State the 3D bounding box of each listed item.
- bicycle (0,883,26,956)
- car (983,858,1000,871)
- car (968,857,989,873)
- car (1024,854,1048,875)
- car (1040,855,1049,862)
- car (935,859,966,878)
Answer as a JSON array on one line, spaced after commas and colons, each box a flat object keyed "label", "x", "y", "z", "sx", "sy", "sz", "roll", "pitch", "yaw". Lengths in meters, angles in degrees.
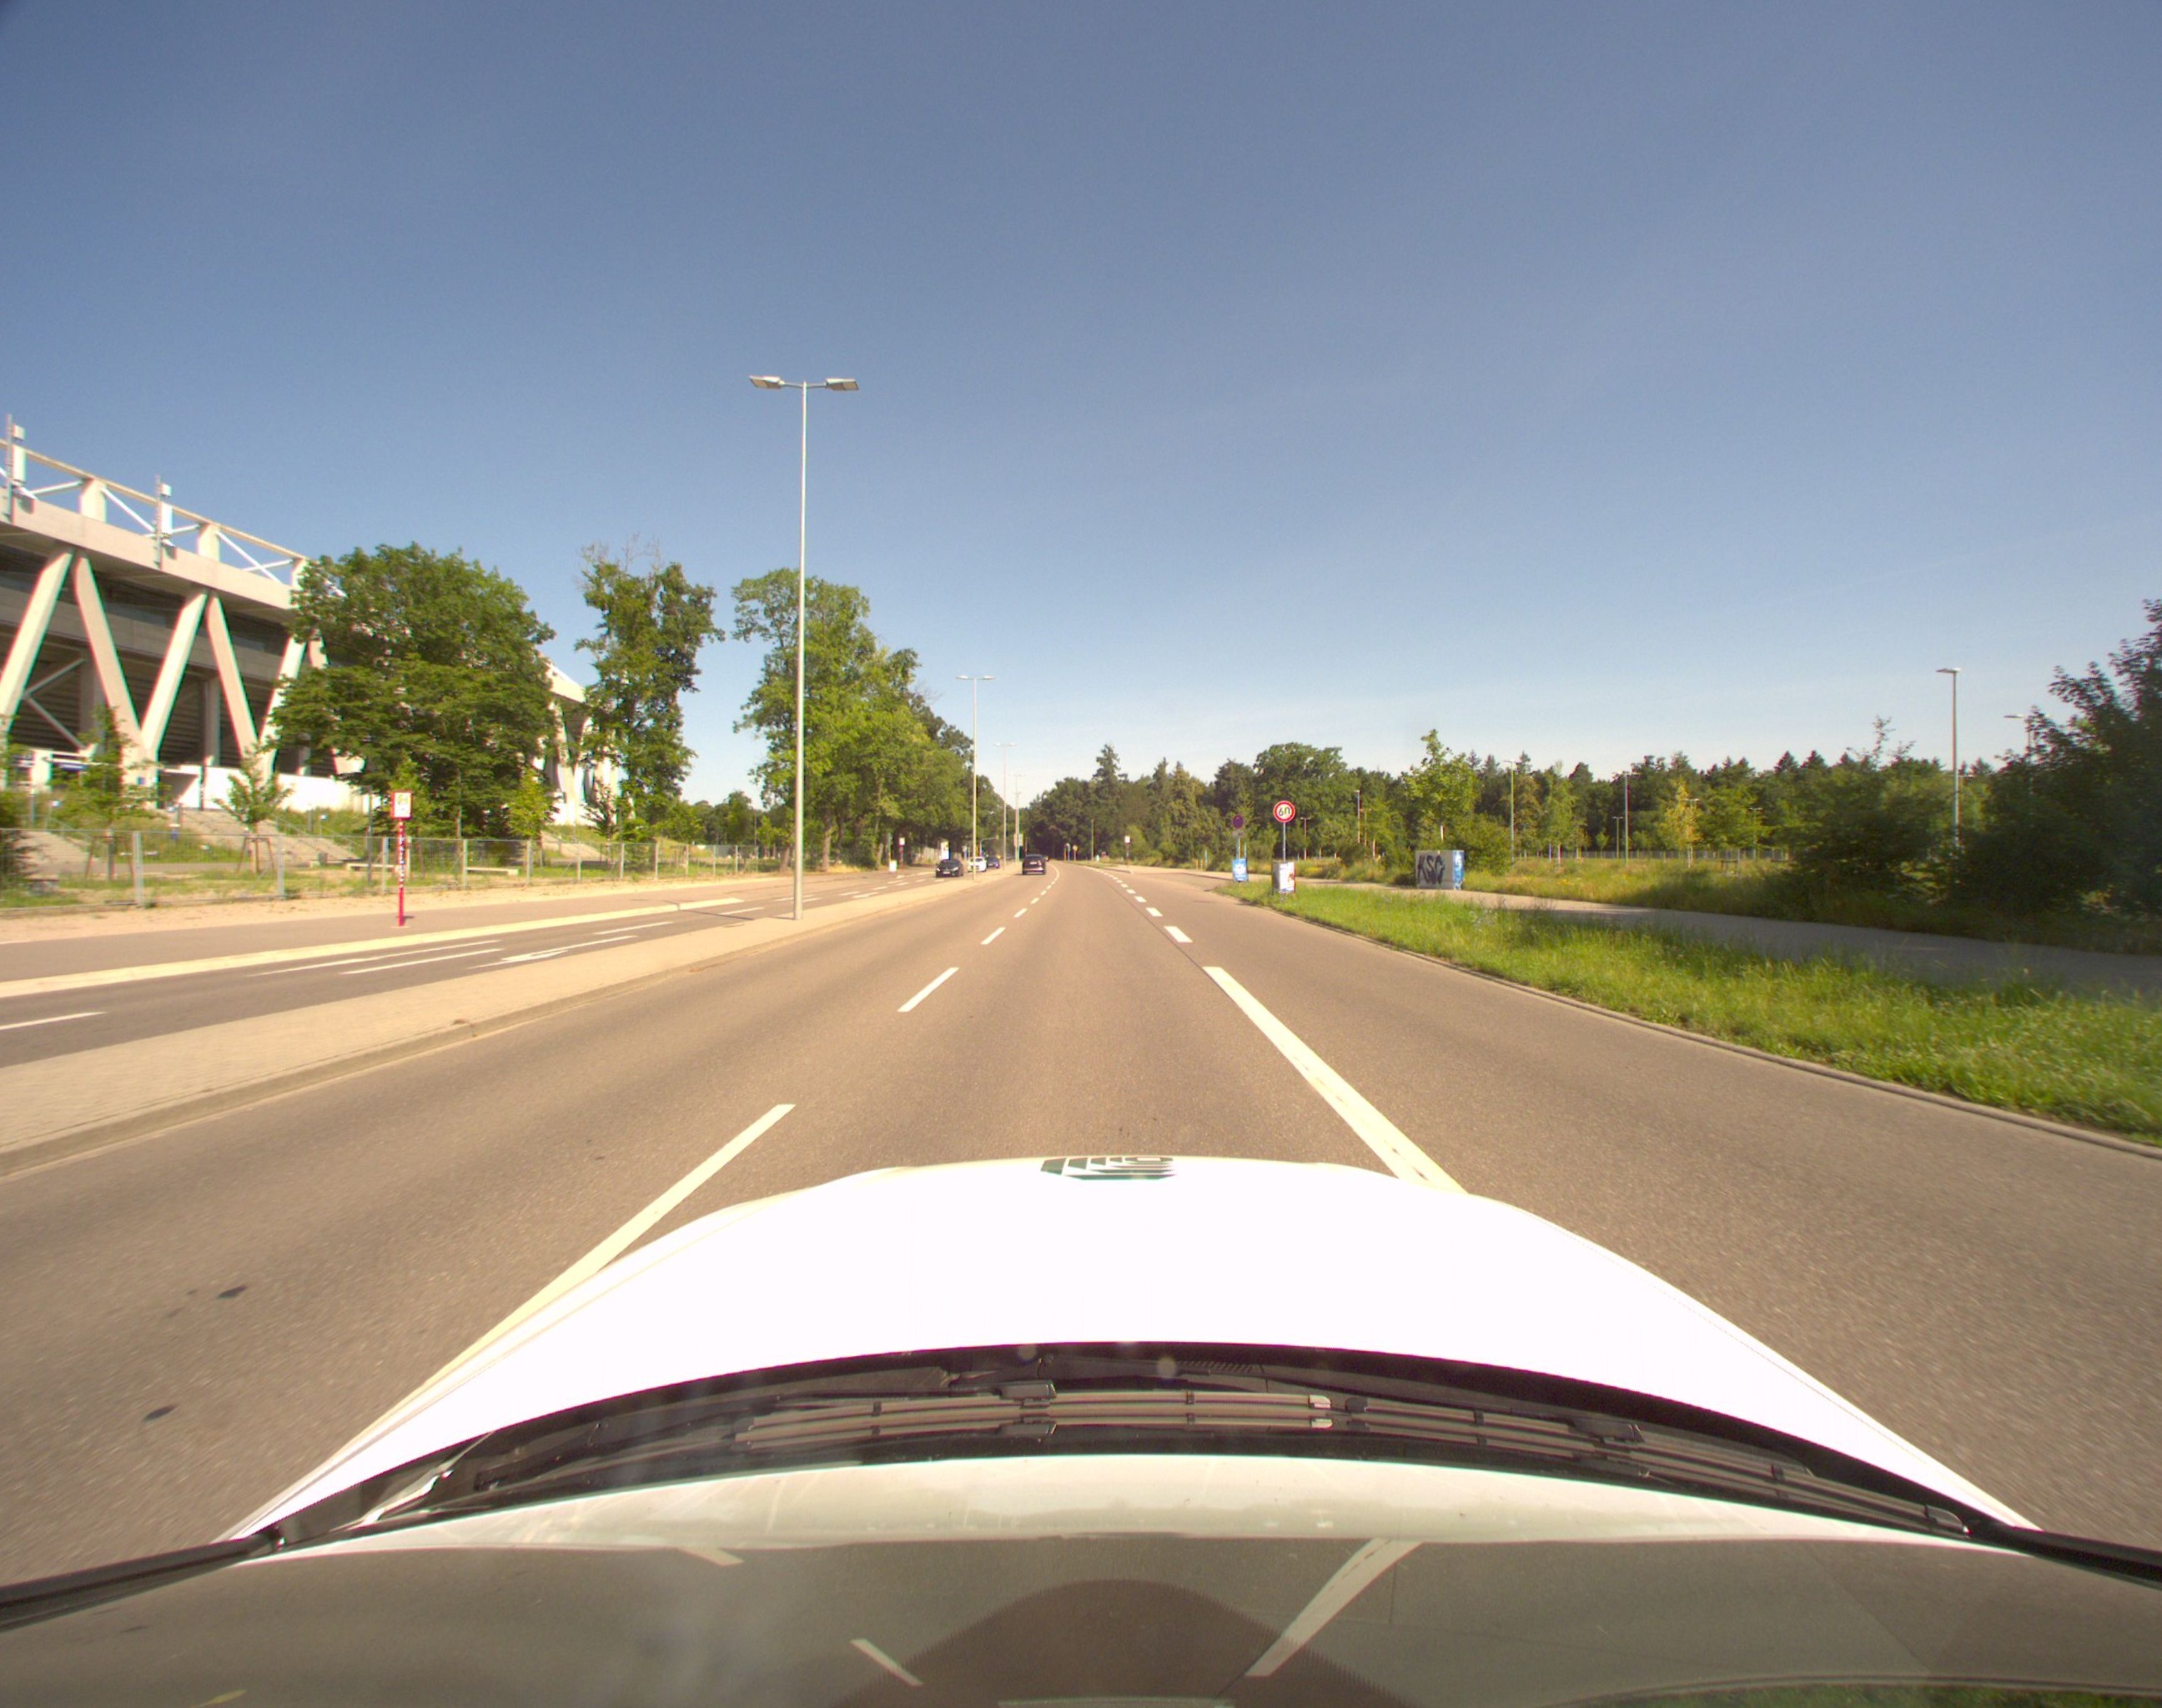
[{"label": "bicycle", "x": -17.367, "y": 1.036, "z": 12.192, "sx": 0.657, "sy": 1.136, "sz": 1.878, "roll": 1, "pitch": 0, "yaw": 0}, {"label": "car", "x": -10.887, "y": 1.251, "z": 99.009, "sx": 1.749, "sy": 1.486, "sz": 3.943, "roll": -2, "pitch": 0, "yaw": -3}, {"label": "car", "x": -10.076, "y": 1.059, "z": 80.165, "sx": 1.618, "sy": 1.466, "sz": 3.799, "roll": -2, "pitch": 0, "yaw": -1}, {"label": "car", "x": -3.570, "y": 0.803, "z": 64.500, "sx": 1.683, "sy": 1.544, "sz": 4.147, "roll": -1, "pitch": 0, "yaw": -1}, {"label": "car", "x": -7.787, "y": 0.981, "z": 173.651, "sx": 1.937, "sy": 1.420, "sz": 4.286, "roll": 0, "pitch": 0, "yaw": -5}, {"label": "car", "x": -9.957, "y": 1.085, "z": 62.492, "sx": 1.806, "sy": 1.388, "sz": 4.158, "roll": -2, "pitch": 0, "yaw": -2}]
